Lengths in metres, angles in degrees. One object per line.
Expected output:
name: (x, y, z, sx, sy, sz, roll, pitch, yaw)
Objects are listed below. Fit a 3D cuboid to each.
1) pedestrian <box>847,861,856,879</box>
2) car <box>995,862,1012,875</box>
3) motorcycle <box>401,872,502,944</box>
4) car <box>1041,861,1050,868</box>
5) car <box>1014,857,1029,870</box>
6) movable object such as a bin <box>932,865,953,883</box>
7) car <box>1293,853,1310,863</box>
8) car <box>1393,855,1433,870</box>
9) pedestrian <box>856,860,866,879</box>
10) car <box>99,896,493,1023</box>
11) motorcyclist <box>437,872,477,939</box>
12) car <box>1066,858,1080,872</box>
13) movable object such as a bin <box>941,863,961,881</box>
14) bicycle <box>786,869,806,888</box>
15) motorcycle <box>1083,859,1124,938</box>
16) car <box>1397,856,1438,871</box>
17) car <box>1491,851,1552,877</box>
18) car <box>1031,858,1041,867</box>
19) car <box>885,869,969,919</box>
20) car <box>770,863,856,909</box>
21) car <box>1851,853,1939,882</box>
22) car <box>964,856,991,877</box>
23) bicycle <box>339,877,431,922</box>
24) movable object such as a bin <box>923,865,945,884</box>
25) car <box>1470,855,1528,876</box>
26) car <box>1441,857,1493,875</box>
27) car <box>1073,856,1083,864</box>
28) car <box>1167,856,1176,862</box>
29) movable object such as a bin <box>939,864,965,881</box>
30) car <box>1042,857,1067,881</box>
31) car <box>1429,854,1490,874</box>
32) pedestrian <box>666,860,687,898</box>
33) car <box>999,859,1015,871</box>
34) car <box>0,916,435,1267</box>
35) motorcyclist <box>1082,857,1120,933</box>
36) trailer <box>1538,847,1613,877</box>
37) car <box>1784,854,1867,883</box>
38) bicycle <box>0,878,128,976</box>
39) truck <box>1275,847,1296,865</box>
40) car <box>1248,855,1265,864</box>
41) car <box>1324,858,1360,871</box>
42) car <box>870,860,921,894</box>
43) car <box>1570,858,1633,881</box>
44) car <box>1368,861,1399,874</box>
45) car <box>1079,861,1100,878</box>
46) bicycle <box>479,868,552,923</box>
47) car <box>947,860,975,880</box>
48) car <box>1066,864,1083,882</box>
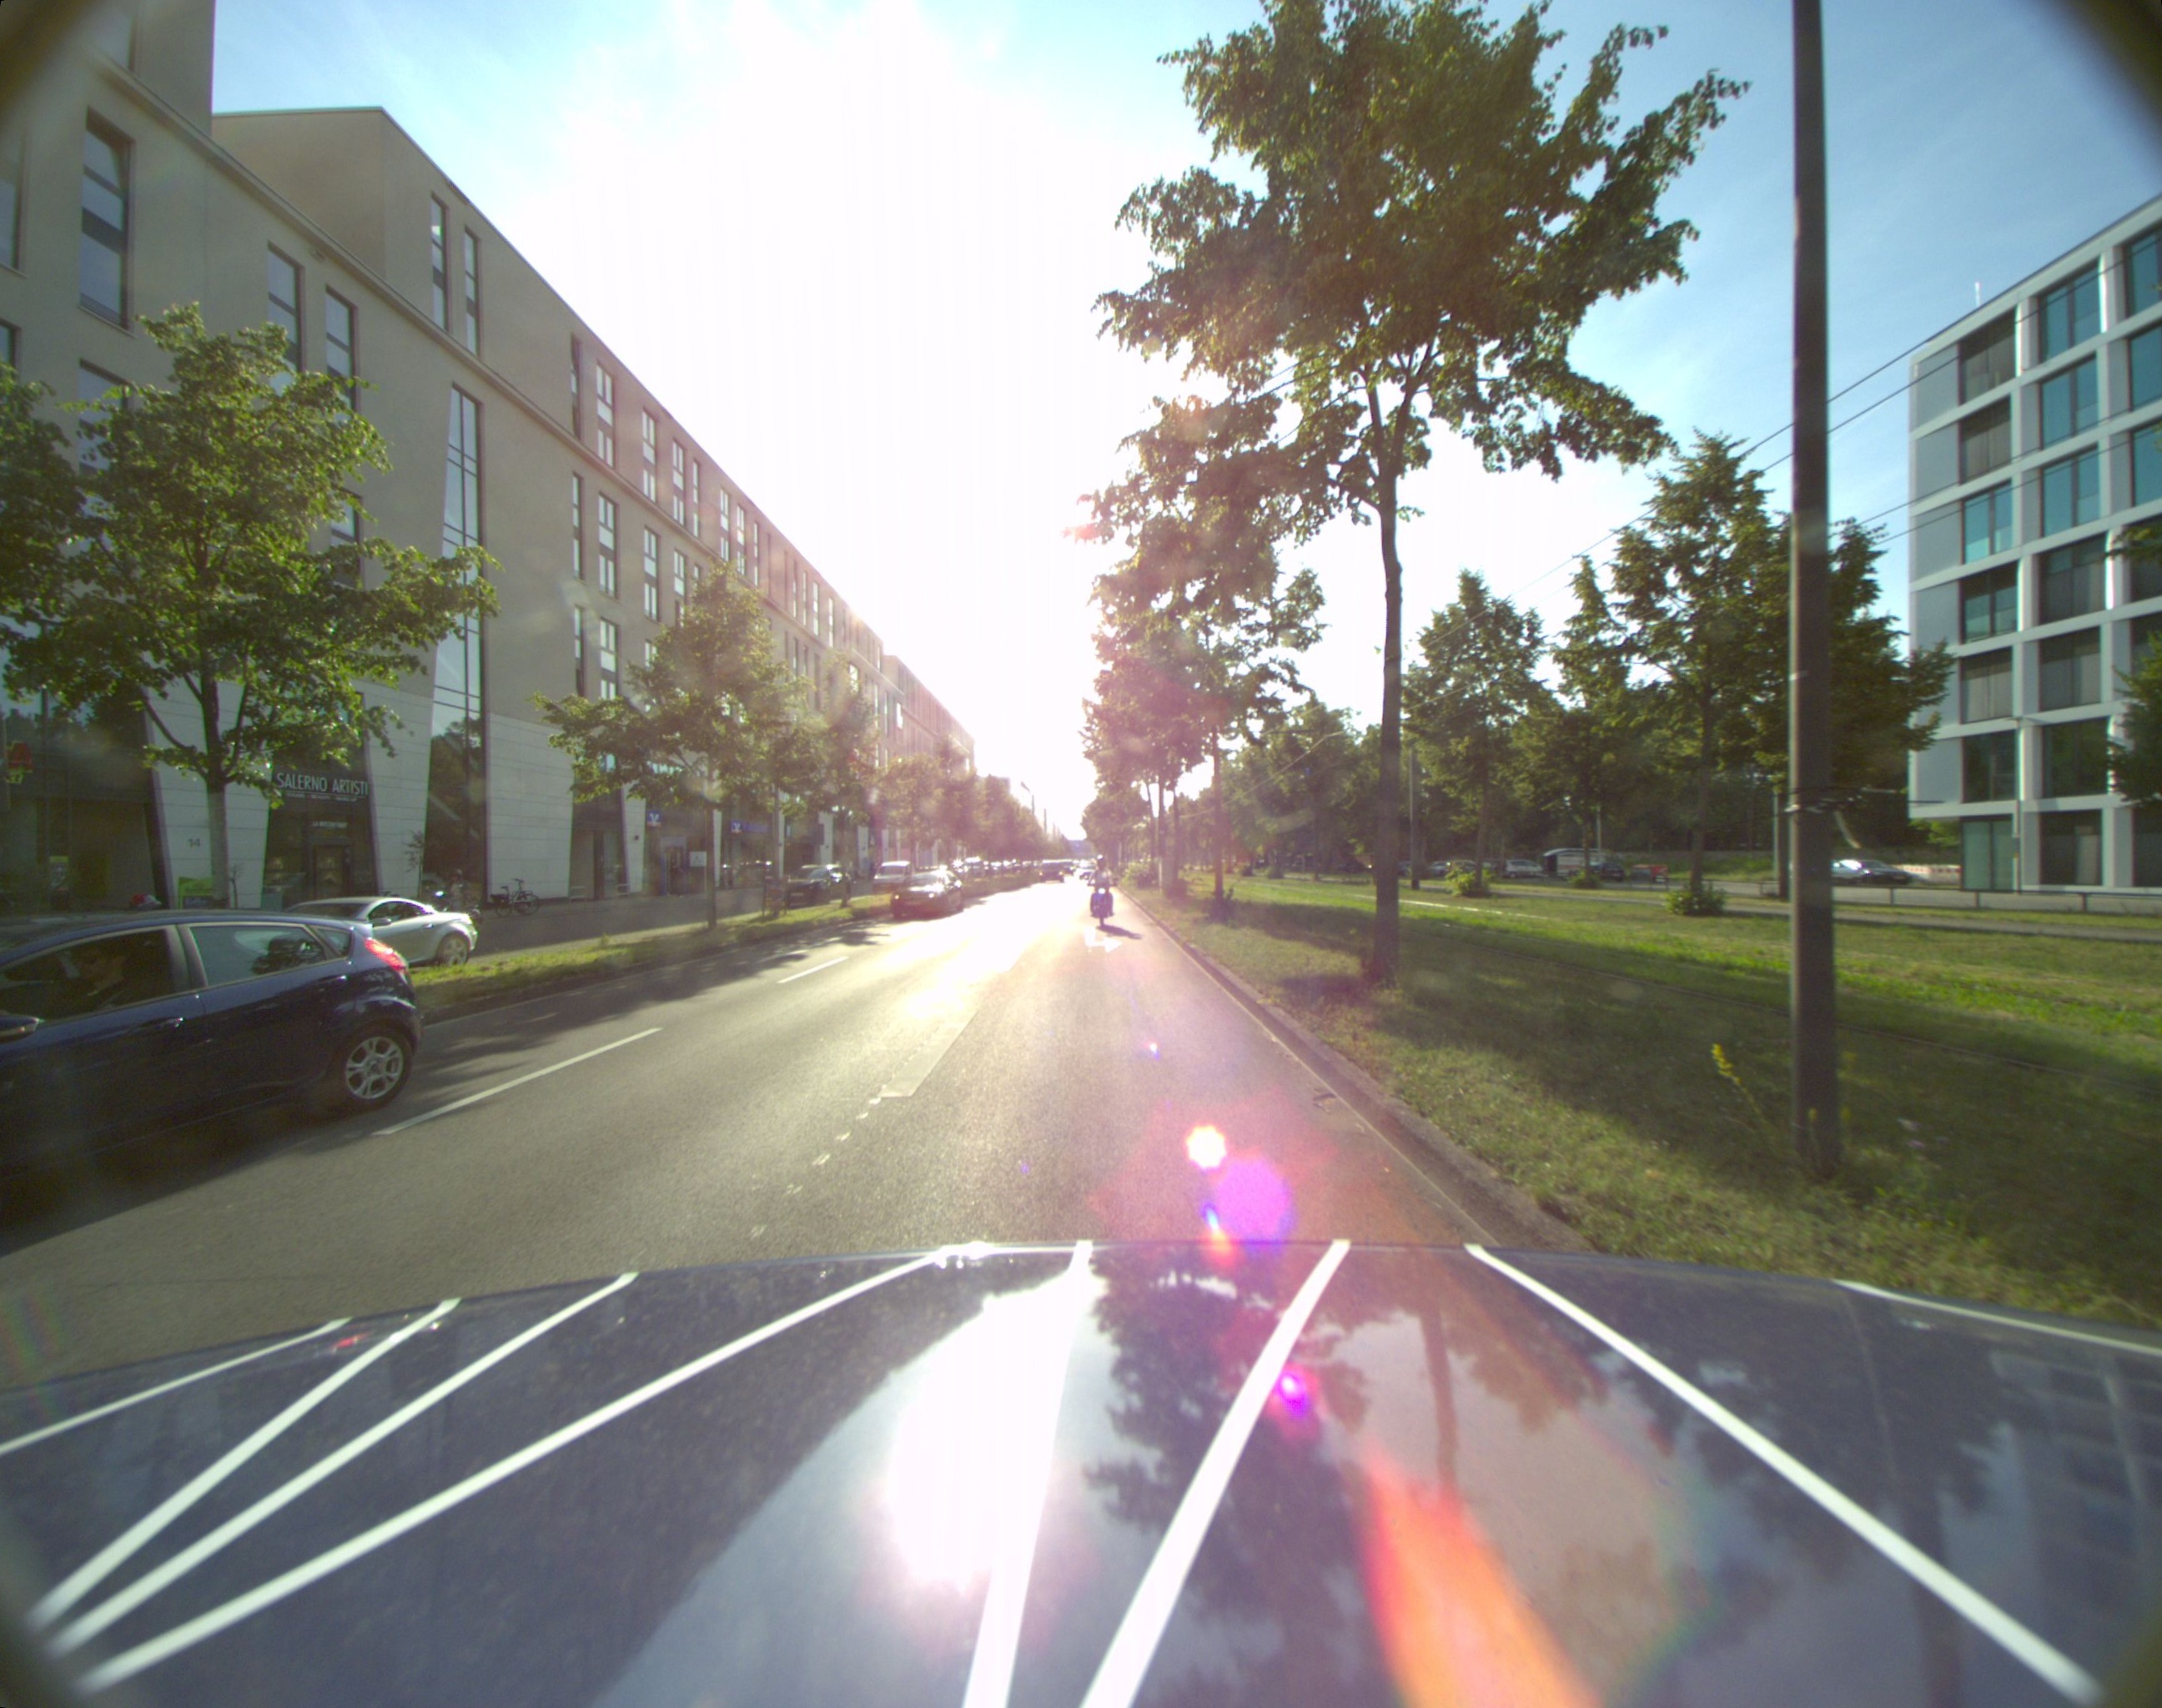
pedestrian: (-20.010, 1.383, 66.129, 0.515, 1.513, 0.597, -3, 1, 0)
car: (-9.020, 1.643, 88.286, 1.620, 1.404, 4.167, -3, 0, -2)
motorcycle: (-15.508, 1.285, 18.794, 0.702, 1.608, 2.012, 3, 1, 4)
car: (-8.545, 2.510, 183.788, 1.840, 1.521, 4.328, -3, 0, 1)
car: (-9.433, 1.516, 121.507, 1.899, 1.863, 4.844, -3, 0, 0)
movable object such as a bin: (-9.917, 1.417, 54.321, 1.281, 1.229, 1.191, -3, 1, -2)
car: (39.036, 0.737, 134.549, 1.835, 1.602, 4.474, -2, 1, 2)
car: (38.200, 0.972, 87.555, 3.865, 1.477, 1.744, -2, 1, 8)
pedestrian: (-19.118, 1.340, 66.122, 0.514, 1.565, 0.540, -2, 1, 21)
car: (-11.085, 1.400, 11.225, 1.712, 1.235, 3.905, -3, 0, 0)
motorcyclist: (-15.467, 1.277, 18.849, 0.625, 1.631, 0.418, 1, 0, 2)
car: (-1.226, 1.713, 119.292, 1.998, 2.002, 4.000, -3, 0, 1)
movable object such as a bin: (-9.985, 1.406, 58.397, 1.281, 1.294, 1.191, -3, 1, -2)
bicycle: (-18.014, 1.546, 48.093, 0.493, 1.109, 1.945, 0, 1, 1)
motorcycle: (0.496, 0.977, 17.953, 0.798, 1.659, 2.634, -3, 1, 0)
car: (37.747, 1.059, 85.274, 3.865, 1.477, 1.744, -2, 1, 8)
car: (36.316, 0.807, 62.724, 4.002, 1.936, 1.758, -3, 1, 1)
car: (-9.213, 1.717, 155.919, 1.840, 1.521, 4.328, -3, 0, 1)
car: (-5.147, 1.298, 25.897, 1.698, 1.416, 4.040, -2, 0, 4)
car: (-11.019, 1.256, 31.629, 1.902, 1.698, 4.678, -3, -1, -1)
car: (49.796, 0.808, 46.602, 1.687, 1.548, 4.003, -2, 0, 13)
car: (-10.232, 1.225, 75.448, 1.842, 1.865, 5.031, -3, 0, 1)
bicycle: (-18.350, 1.185, 20.104, 0.635, 1.077, 1.905, 0, 0, 1)
movable object such as a bin: (-10.276, 1.420, 53.067, 1.281, 1.284, 1.178, -3, 1, -2)
car: (36.252, 0.990, 65.997, 4.002, 1.633, 1.758, -3, 1, 1)
car: (37.200, 1.177, 73.268, 3.996, 1.551, 1.856, -2, 1, 3)
car: (-0.595, 1.230, 158.806, 1.840, 1.521, 4.328, -3, 0, 1)
car: (23.678, 1.348, 198.678, 1.686, 1.467, 4.813, 1, 0, 1)
movable object such as a bin: (-10.160, 1.447, 59.873, 1.399, 1.229, 1.338, -2, 1, 28)
car: (-2.243, 1.275, 65.169, 1.803, 1.880, 4.821, -3, 0, 1)
car: (37.621, 0.960, 75.679, 5.071, 1.725, 1.886, -2, 1, 3)
pedestrian: (-19.496, 1.196, 36.638, 0.538, 1.752, 0.646, -2, 1, 1)
car: (-10.144, 1.500, 104.727, 1.733, 1.424, 4.114, -3, 0, 0)
car: (-5.679, 1.190, 3.752, 1.564, 1.416, 3.907, -3, 0, 0)
motorcyclist: (0.459, 0.950, 17.846, 0.814, 1.699, 0.843, -3, 1, 0)
trailer: (37.064, 0.608, 57.033, 4.374, 2.042, 1.758, -2, 1, 4)
car: (46.972, 0.880, 48.049, 1.851, 1.586, 4.003, -2, 0, 12)
bicycle: (-18.299, 1.259, 13.197, 0.557, 1.558, 2.212, -2, 1, 1)
truck: (42.129, 0.285, 156.621, 2.895, 3.495, 7.946, -2, 0, 5)
car: (28.758, 0.894, 124.768, 1.835, 1.423, 4.475, -2, 0, 2)
car: (30.964, 1.198, 90.270, 1.689, 1.427, 4.027, -3, 1, -26)
car: (-10.679, 1.280, 44.006, 1.832, 1.701, 4.295, -3, 0, 0)
car: (36.180, 1.060, 52.920, 1.684, 1.385, 3.760, -3, 0, -2)
car: (37.773, 1.641, 94.982, 1.791, 1.434, 4.359, -3, 0, -5)
car: (0.819, 1.464, 73.116, 1.756, 1.427, 4.034, -3, 0, -2)
bicycle: (-18.233, 1.314, 24.573, 0.557, 1.609, 2.212, -2, 1, 1)
car: (-10.301, 1.385, 65.481, 1.735, 1.620, 4.849, -1, 0, -2)
car: (-0.755, 2.226, 90.894, 1.909, 2.002, 4.000, -3, 0, 1)
